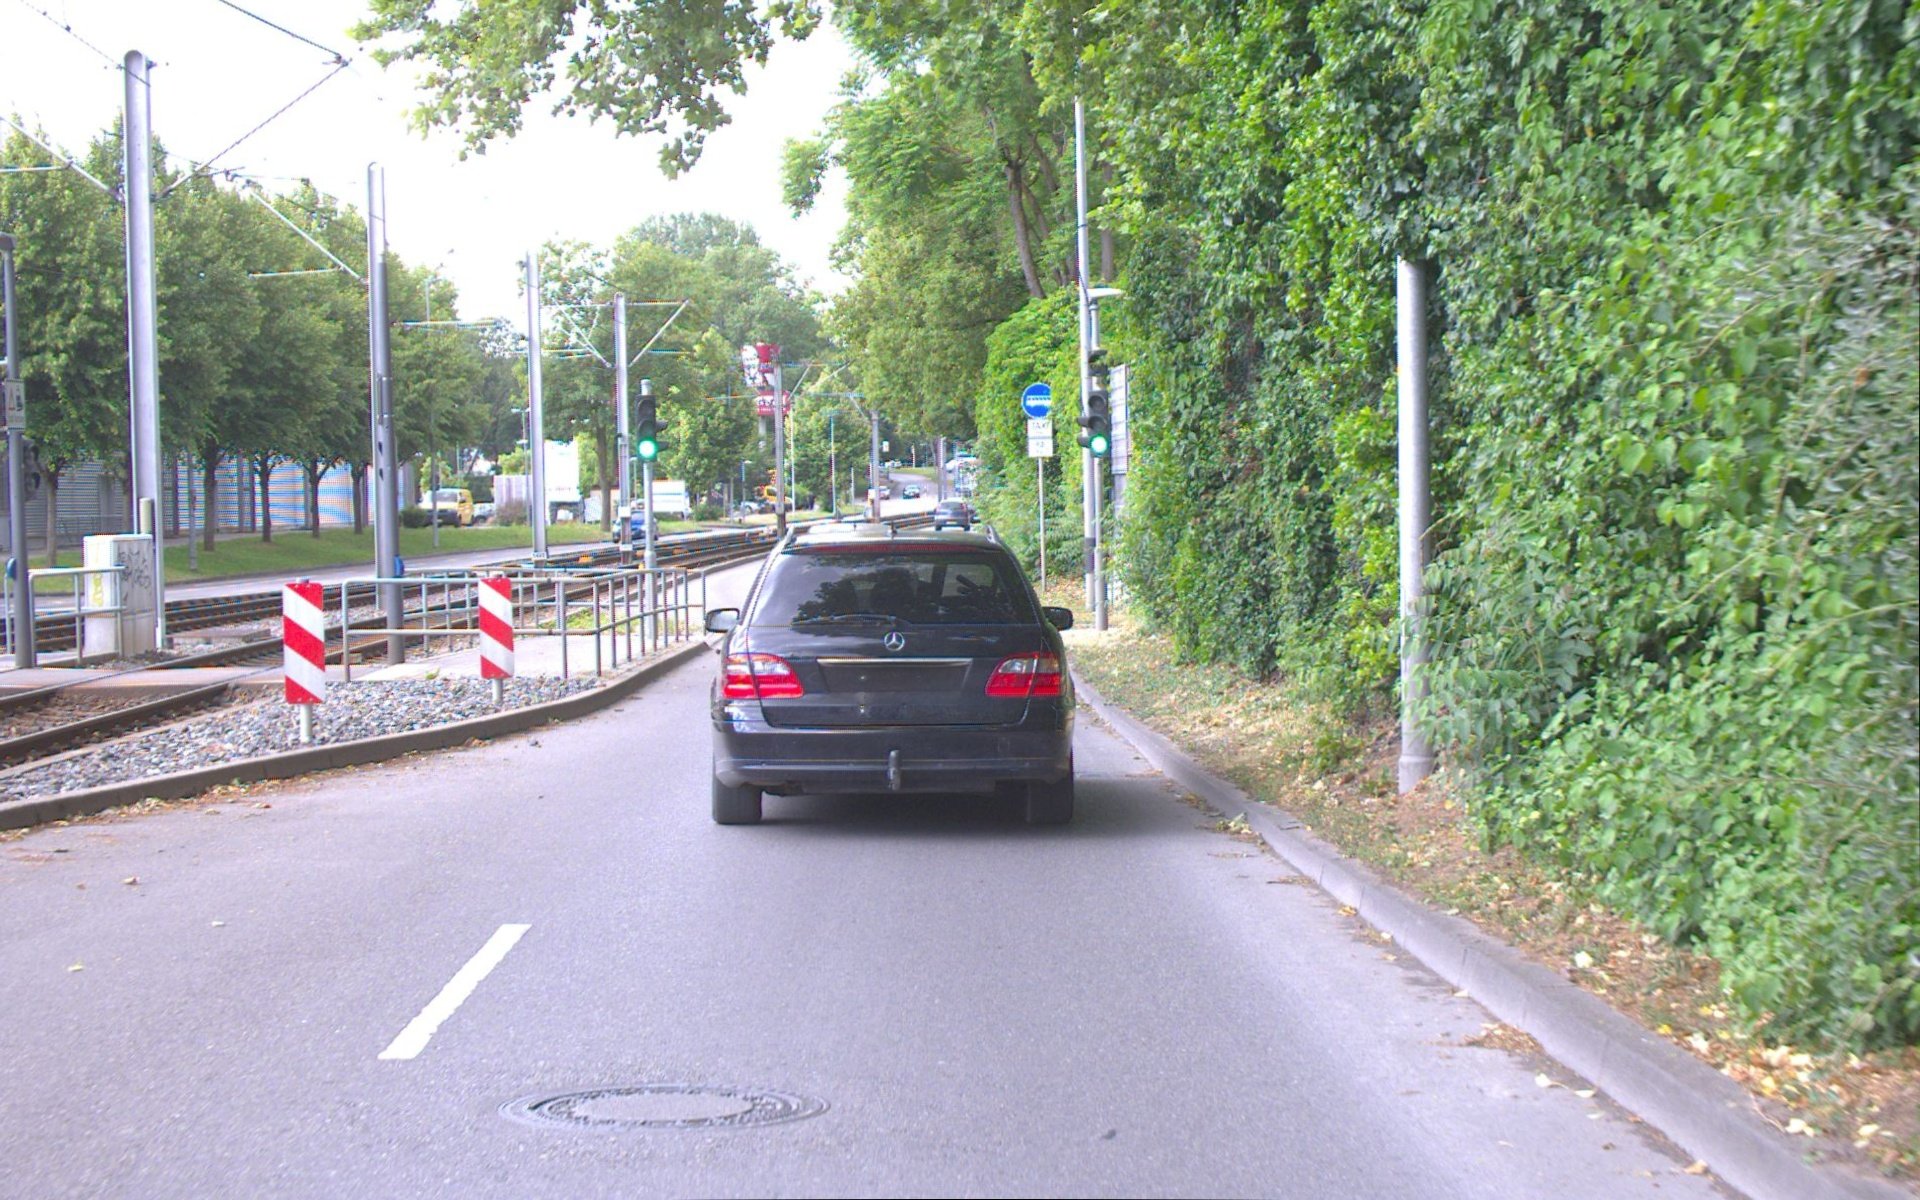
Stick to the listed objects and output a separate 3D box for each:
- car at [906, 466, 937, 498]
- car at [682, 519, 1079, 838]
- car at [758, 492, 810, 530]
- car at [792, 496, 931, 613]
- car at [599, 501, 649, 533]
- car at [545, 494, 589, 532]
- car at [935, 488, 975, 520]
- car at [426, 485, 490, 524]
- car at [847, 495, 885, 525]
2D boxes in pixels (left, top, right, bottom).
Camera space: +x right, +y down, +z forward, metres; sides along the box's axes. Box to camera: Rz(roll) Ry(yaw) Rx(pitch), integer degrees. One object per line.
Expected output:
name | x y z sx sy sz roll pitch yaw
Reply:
car | -2.553 -7.830 228.578 1.891 2.006 3.898 -3 2 0
car | -0.363 0.314 18.140 1.833 1.473 4.416 0 1 0
car | -7.123 -3.632 139.661 1.825 1.524 3.928 0 2 1
car | -1.358 -0.670 48.201 1.825 1.524 4.416 -1 2 -1
car | -15.289 -3.790 156.529 1.660 1.388 3.719 0 2 4
car | -22.151 -4.914 194.058 1.993 2.006 4.000 -3 2 -1
car | -0.224 -4.702 167.961 1.825 1.524 4.416 -1 2 1
car | -23.879 -4.556 163.640 1.994 1.737 4.987 -2 2 3
car | -5.003 -4.826 183.754 1.825 1.524 3.986 0 2 1
